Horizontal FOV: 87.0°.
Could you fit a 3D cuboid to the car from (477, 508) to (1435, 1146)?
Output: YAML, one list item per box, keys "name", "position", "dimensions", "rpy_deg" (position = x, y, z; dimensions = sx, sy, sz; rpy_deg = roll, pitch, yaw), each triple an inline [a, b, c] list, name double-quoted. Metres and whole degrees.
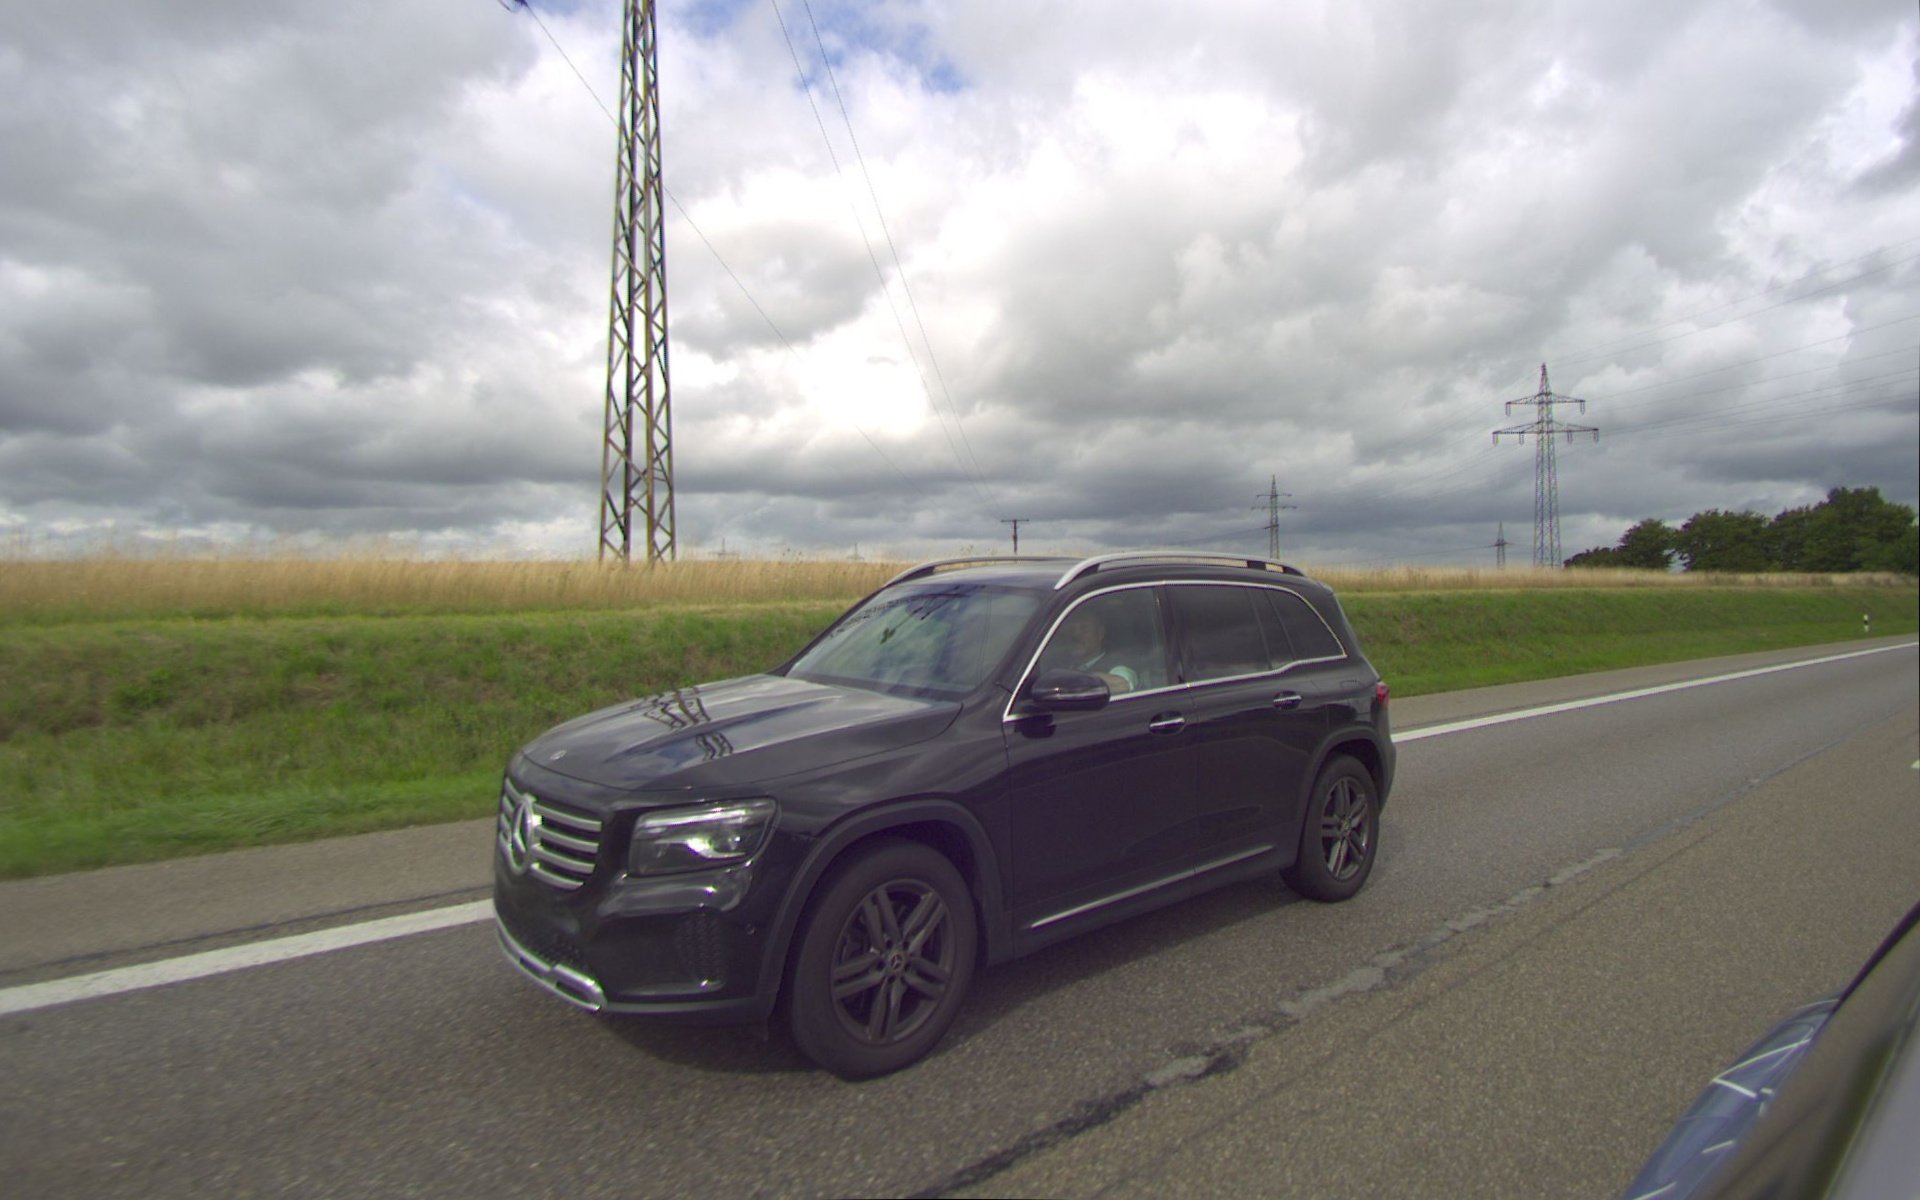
- name: "car"
  position: [0.304, 0.547, 4.684]
  dimensions: [4.283, 1.629, 1.837]
  rpy_deg: [-1, 1, -40]
